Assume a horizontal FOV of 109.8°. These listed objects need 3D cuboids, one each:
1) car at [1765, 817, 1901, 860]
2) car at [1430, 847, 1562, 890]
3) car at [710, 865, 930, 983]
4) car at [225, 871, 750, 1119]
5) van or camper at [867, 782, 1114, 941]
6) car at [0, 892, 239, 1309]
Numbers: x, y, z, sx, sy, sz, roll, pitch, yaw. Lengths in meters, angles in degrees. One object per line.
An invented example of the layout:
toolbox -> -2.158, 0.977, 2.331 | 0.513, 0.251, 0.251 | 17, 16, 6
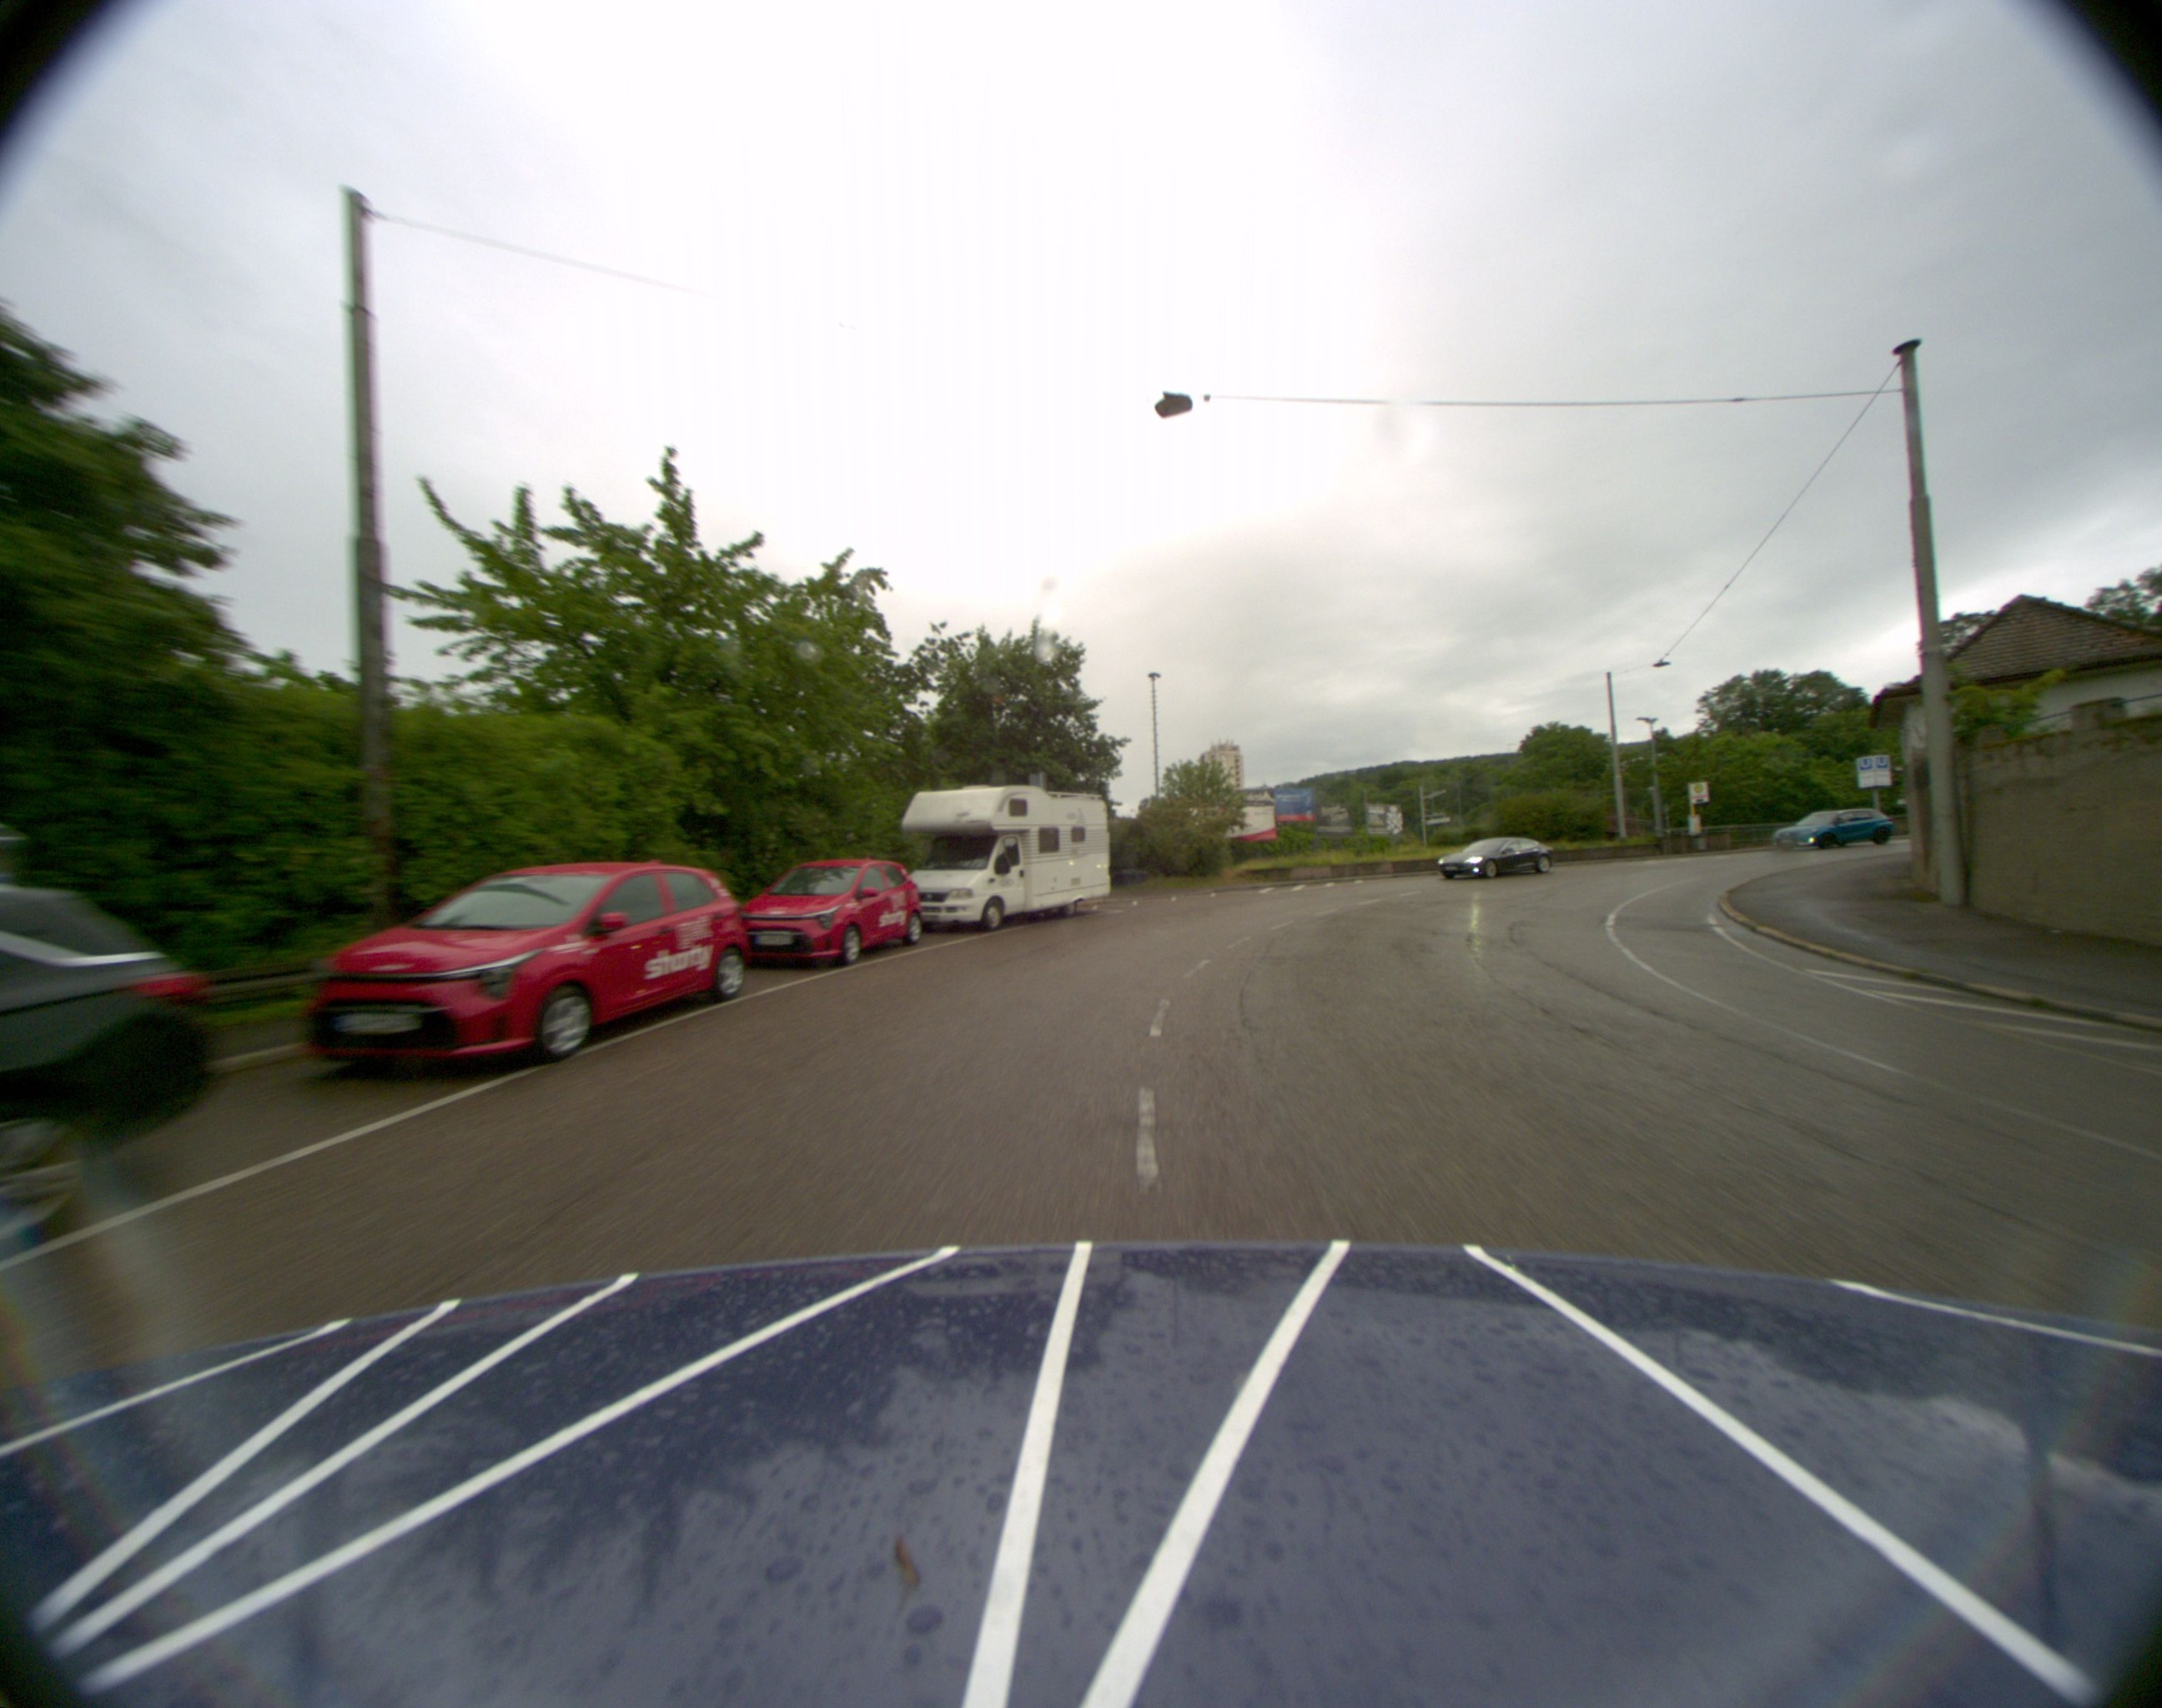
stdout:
car -> 31.938, -0.637, 32.357 | 4.040, 1.599, 1.803 | -1, -4, -4
car -> 15.641, 0.500, 28.665 | 4.326, 1.384, 1.833 | -2, 2, -17
car -> -3.789, 0.926, 11.775 | 1.644, 1.452, 3.809 | 0, 0, 8
car -> -4.566, 0.930, 6.641 | 1.562, 1.504, 3.677 | 0, 0, 3
van or camper -> -1.704, 0.105, 17.329 | 2.391, 2.927, 6.292 | 0, 1, 28
car -> -4.861, 0.932, 1.298 | 1.722, 1.504, 4.595 | -1, 0, 0
